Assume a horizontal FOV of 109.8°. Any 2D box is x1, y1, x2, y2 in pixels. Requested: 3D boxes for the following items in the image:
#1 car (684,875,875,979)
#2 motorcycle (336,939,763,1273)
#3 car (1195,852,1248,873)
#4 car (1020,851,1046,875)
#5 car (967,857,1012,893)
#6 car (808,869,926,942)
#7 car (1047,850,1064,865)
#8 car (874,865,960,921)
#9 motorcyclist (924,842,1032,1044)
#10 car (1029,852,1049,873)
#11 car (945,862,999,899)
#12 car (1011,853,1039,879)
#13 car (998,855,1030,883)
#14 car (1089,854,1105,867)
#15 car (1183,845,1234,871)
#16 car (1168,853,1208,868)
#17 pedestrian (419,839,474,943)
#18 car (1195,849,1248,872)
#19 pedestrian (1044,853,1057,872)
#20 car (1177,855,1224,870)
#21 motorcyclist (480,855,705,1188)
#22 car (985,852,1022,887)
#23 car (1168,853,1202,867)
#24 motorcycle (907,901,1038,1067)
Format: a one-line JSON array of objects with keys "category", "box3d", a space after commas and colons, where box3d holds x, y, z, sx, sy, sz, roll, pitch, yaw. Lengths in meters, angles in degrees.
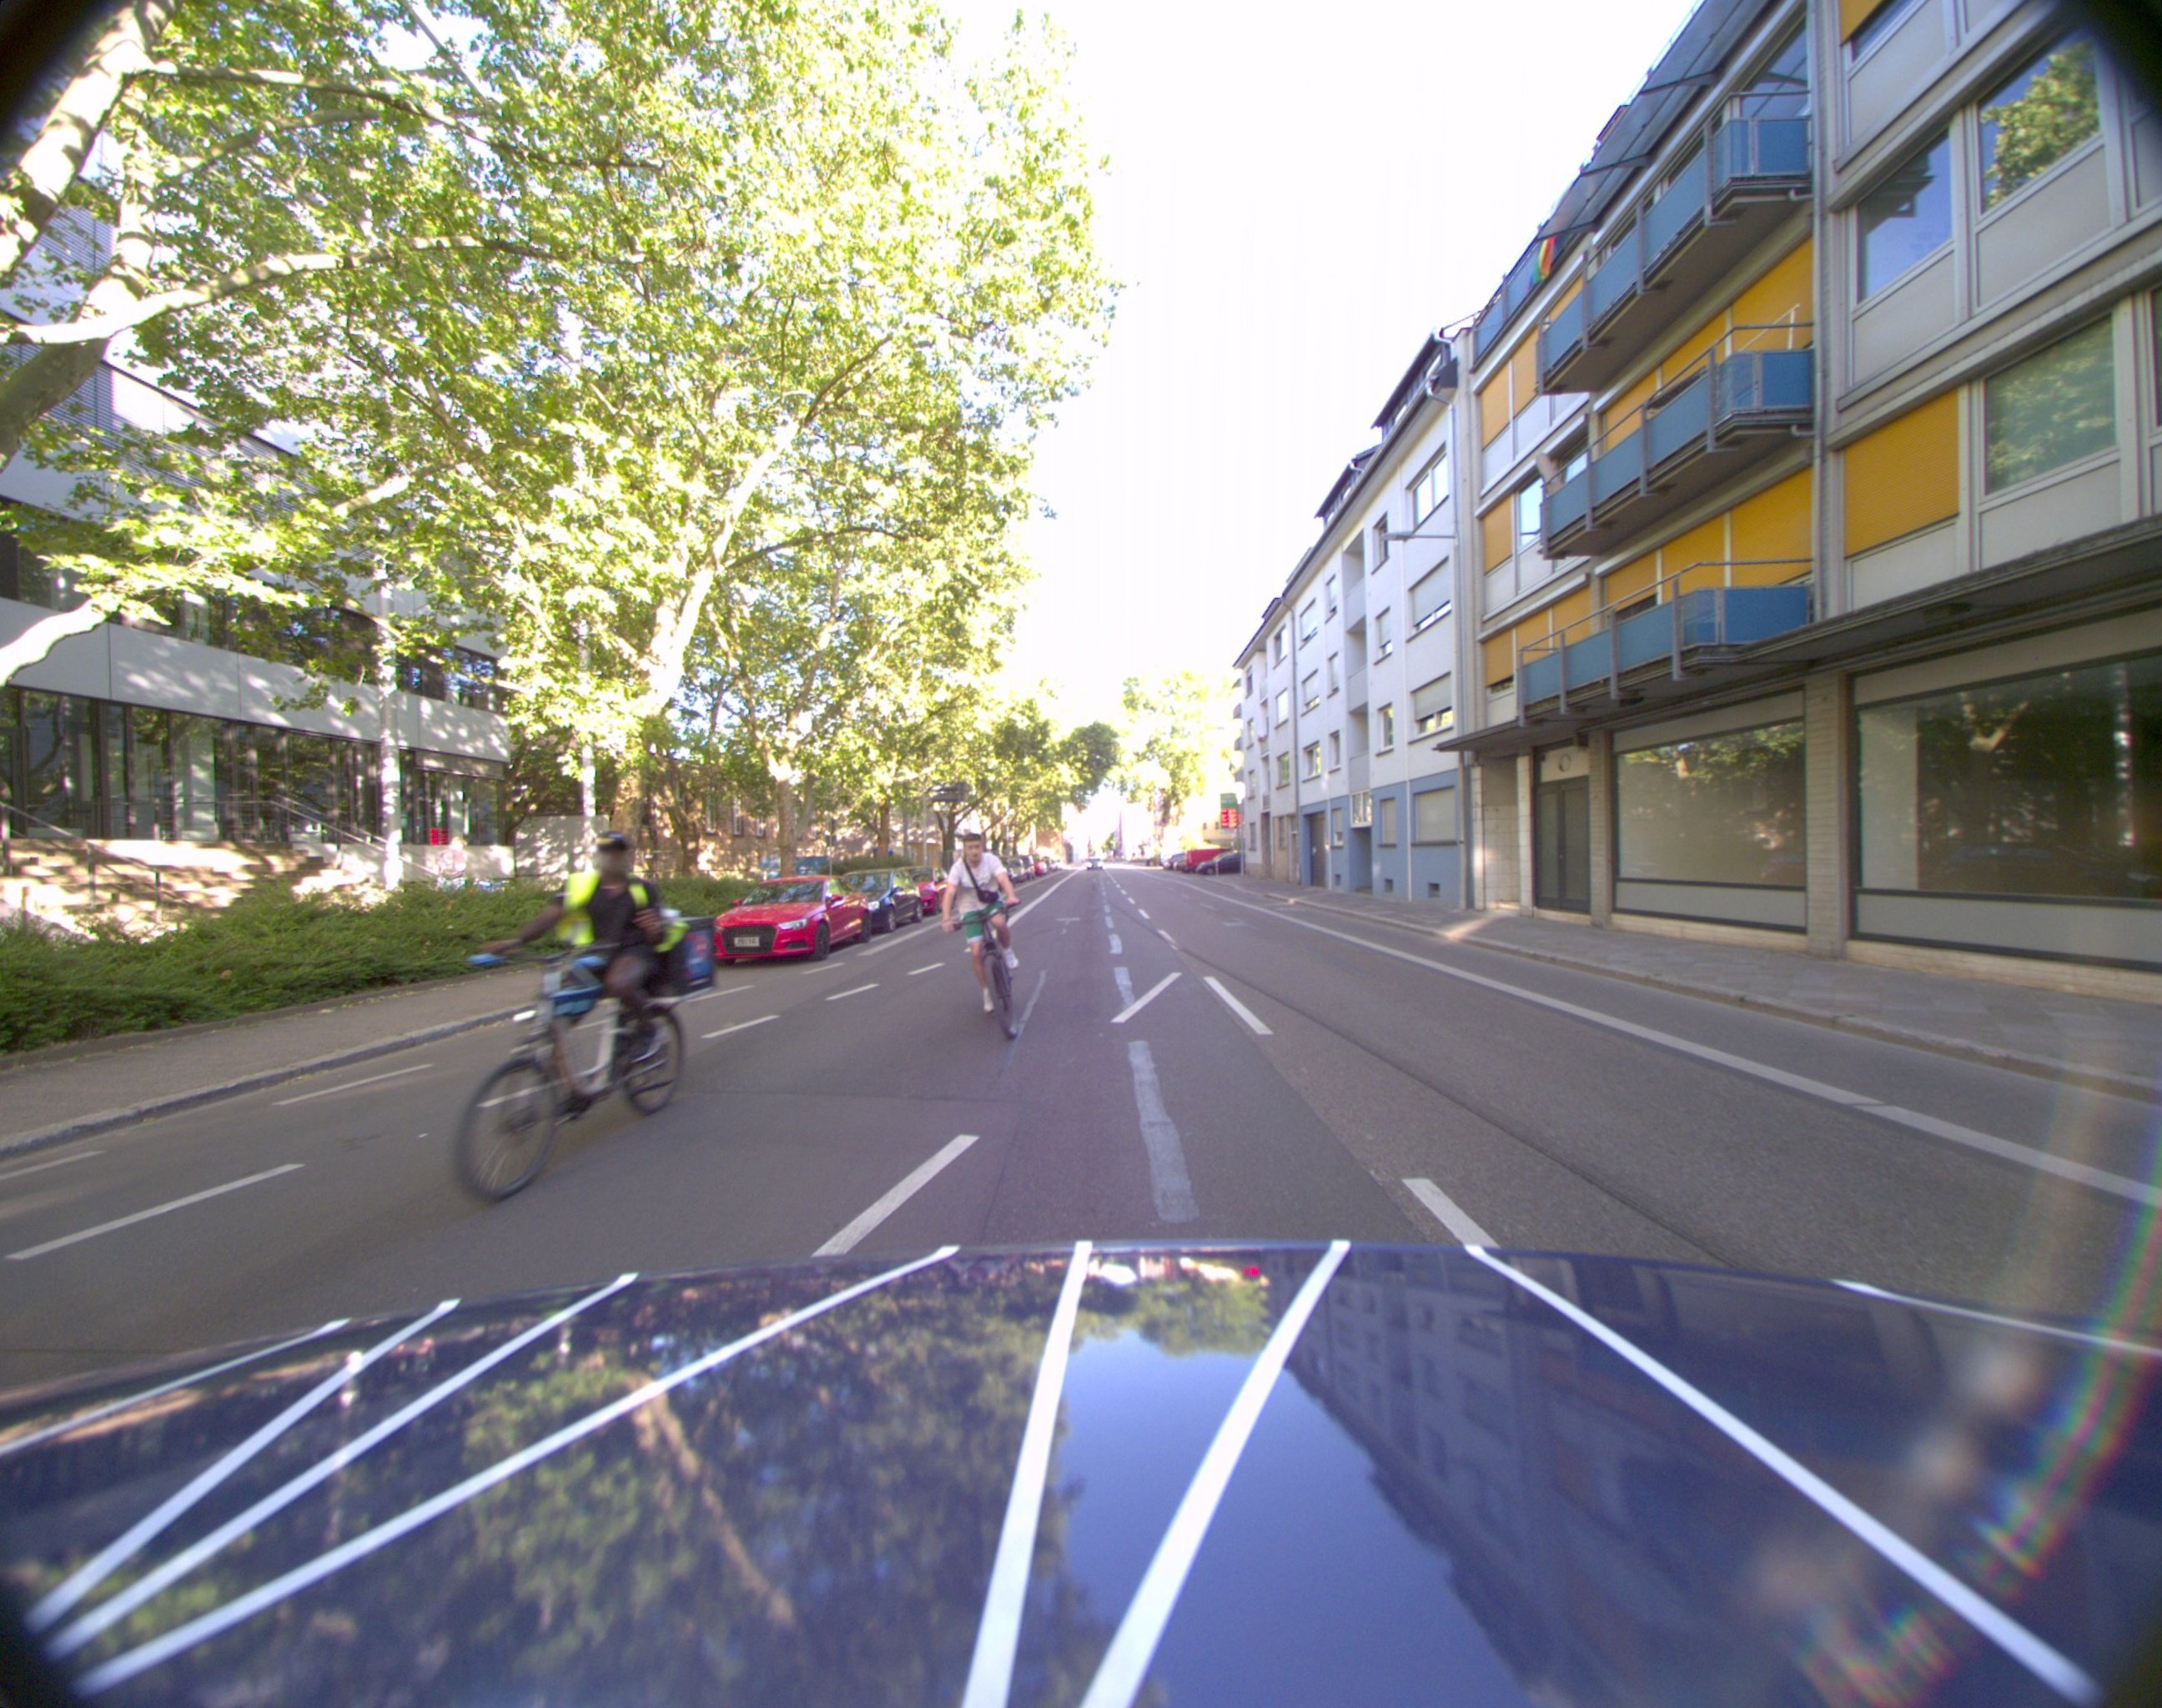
[{"category": "car", "box3d": [-5.162, 1.178, 13.665, 1.794, 1.384, 3.999, -2, 1, 0]}, {"category": "motorcycle", "box3d": [-2.734, 1.205, 4.360, 0.799, 1.125, 2.236, -2, 1, 1]}, {"category": "car", "box3d": [10.092, 0.587, 54.736, 3.508, 1.380, 1.490, -2, 1, 2]}, {"category": "car", "box3d": [-4.169, 0.720, 66.099, 1.915, 1.940, 3.769, -2, 1, 0]}, {"category": "car", "box3d": [-4.518, 0.990, 38.114, 1.634, 1.569, 4.231, -2, 1, 0]}, {"category": "car", "box3d": [-5.051, 1.161, 18.418, 1.669, 1.410, 3.697, -2, 1, 1]}, {"category": "car", "box3d": [-3.442, 0.456, 102.210, 1.998, 2.002, 4.000, -2, 0, 1]}, {"category": "car", "box3d": [-5.013, 1.131, 23.692, 1.692, 1.441, 3.923, -2, 1, 1]}, {"category": "motorcyclist", "box3d": [-0.951, 0.794, 7.262, 0.833, 1.778, 0.913, -2, 1, 1]}, {"category": "car", "box3d": [-3.902, 0.804, 71.010, 1.599, 1.835, 3.769, -2, 1, 0]}, {"category": "car", "box3d": [-4.693, 1.110, 33.243, 1.692, 1.414, 3.923, -2, 1, 0]}, {"category": "car", "box3d": [-4.037, 0.813, 55.246, 1.634, 1.725, 3.769, -2, 1, 0]}, {"category": "car", "box3d": [-4.353, 0.938, 50.119, 1.634, 1.604, 4.576, -2, 1, 0]}, {"category": "car", "box3d": [1.817, 0.730, 88.501, 1.752, 1.423, 4.266, -2, 0, 1]}, {"category": "car", "box3d": [10.061, 0.318, 59.949, 3.688, 1.897, 1.490, -2, -1, -1]}, {"category": "car", "box3d": [10.269, 0.624, 73.036, 3.687, 1.238, 1.345, -2, 1, 2]}, {"category": "pedestrian", "box3d": [-12.597, 0.715, 15.094, 0.552, 2.002, 0.562, -2, 1, -11]}, {"category": "car", "box3d": [10.535, 0.482, 57.104, 3.687, 1.503, 1.490, -2, 1, 2]}, {"category": "pedestrian", "box3d": [-3.021, 0.829, 74.372, 0.894, 1.727, 0.827, -3, 1, -33]}, {"category": "car", "box3d": [9.813, 0.691, 62.595, 3.687, 1.122, 1.345, -2, 1, 2]}, {"category": "motorcyclist", "box3d": [-2.765, 0.892, 4.392, 0.719, 1.733, 0.751, -2, 1, 1]}, {"category": "car", "box3d": [-4.455, 0.851, 44.247, 1.634, 1.781, 4.576, -2, 1, 0]}, {"category": "car", "box3d": [10.324, 0.579, 75.473, 3.271, 1.238, 1.345, -2, 1, 2]}, {"category": "motorcycle", "box3d": [-0.920, 1.102, 7.032, 0.865, 1.161, 1.929, -2, 1, 1]}]
